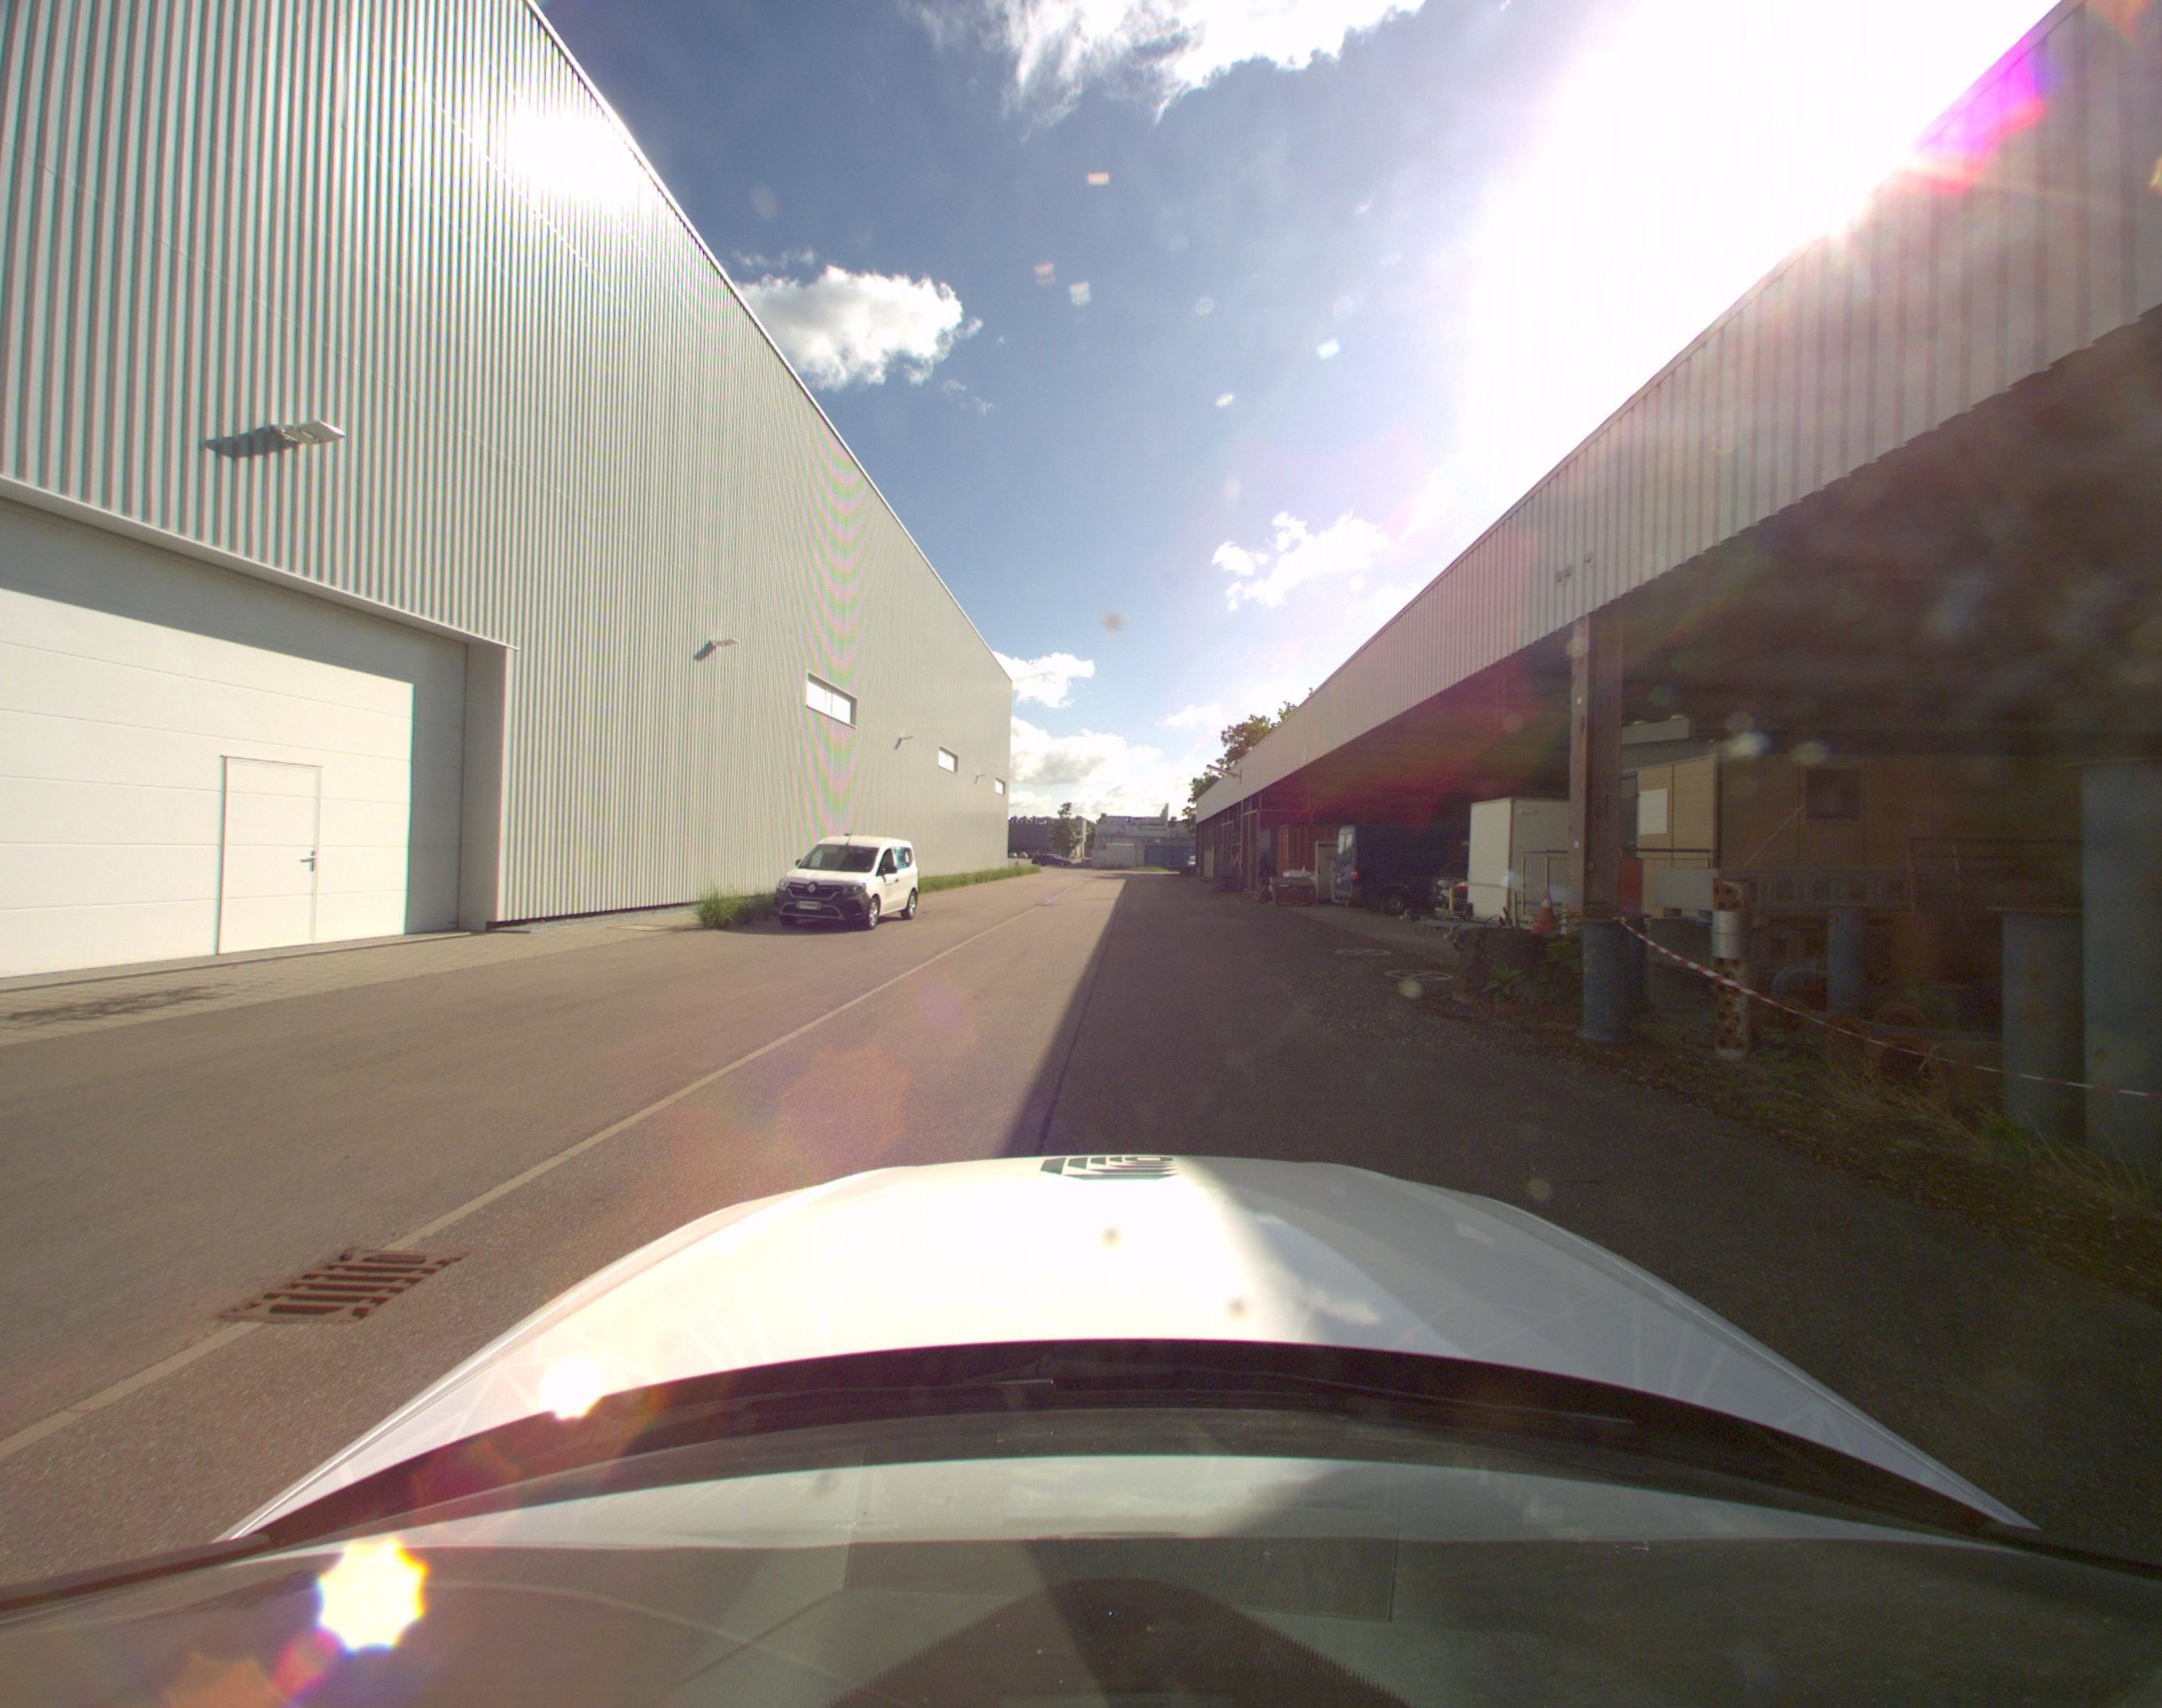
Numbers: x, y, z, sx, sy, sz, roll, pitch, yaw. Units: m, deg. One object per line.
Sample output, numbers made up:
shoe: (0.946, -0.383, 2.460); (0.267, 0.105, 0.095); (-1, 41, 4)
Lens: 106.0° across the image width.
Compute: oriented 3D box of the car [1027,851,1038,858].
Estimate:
car: (-11.529, 0.188, 195.237); (2.184, 1.736, 4.003); (-1, -1, 3)

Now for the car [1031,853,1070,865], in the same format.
car: (-3.650, 0.591, 99.208); (4.504, 1.508, 1.911); (0, 0, 5)

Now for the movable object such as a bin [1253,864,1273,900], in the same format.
movable object such as a bin: (6.091, 0.911, 27.291); (0.578, 1.164, 1.241); (0, 0, 8)

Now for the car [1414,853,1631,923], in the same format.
car: (9.885, 0.738, 18.439); (3.975, 1.472, 1.787); (0, 0, -1)

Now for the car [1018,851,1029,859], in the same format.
car: (-13.961, 0.255, 197.074); (2.184, 1.736, 4.003); (-1, -1, 3)

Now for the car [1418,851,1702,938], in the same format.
car: (8.874, 0.719, 15.354); (4.313, 1.496, 1.777); (0, 0, 1)

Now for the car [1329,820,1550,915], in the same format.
car: (9.279, 0.329, 21.442); (4.957, 2.325, 2.002); (1, 0, 3)

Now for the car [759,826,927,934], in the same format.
car: (-4.721, 0.469, 16.904); (1.882, 1.845, 4.362); (3, 0, 3)

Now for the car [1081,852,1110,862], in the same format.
car: (2.265, 0.452, 126.568); (4.505, 1.508, 1.911); (1, 0, 4)

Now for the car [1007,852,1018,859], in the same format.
car: (-16.555, 0.306, 196.861); (1.985, 1.736, 4.003); (-1, -1, 3)

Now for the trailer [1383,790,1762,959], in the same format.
trailer: (7.428, 0.271, 12.781); (4.785, 2.391, 1.831); (0, 0, 8)

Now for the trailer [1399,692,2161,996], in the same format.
trailer: (9.509, -0.121, 10.129); (9.995, 3.216, 2.856); (0, 0, 3)

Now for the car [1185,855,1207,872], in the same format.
car: (12.079, 0.945, 85.627); (1.985, 1.585, 4.176); (1, 1, 3)
